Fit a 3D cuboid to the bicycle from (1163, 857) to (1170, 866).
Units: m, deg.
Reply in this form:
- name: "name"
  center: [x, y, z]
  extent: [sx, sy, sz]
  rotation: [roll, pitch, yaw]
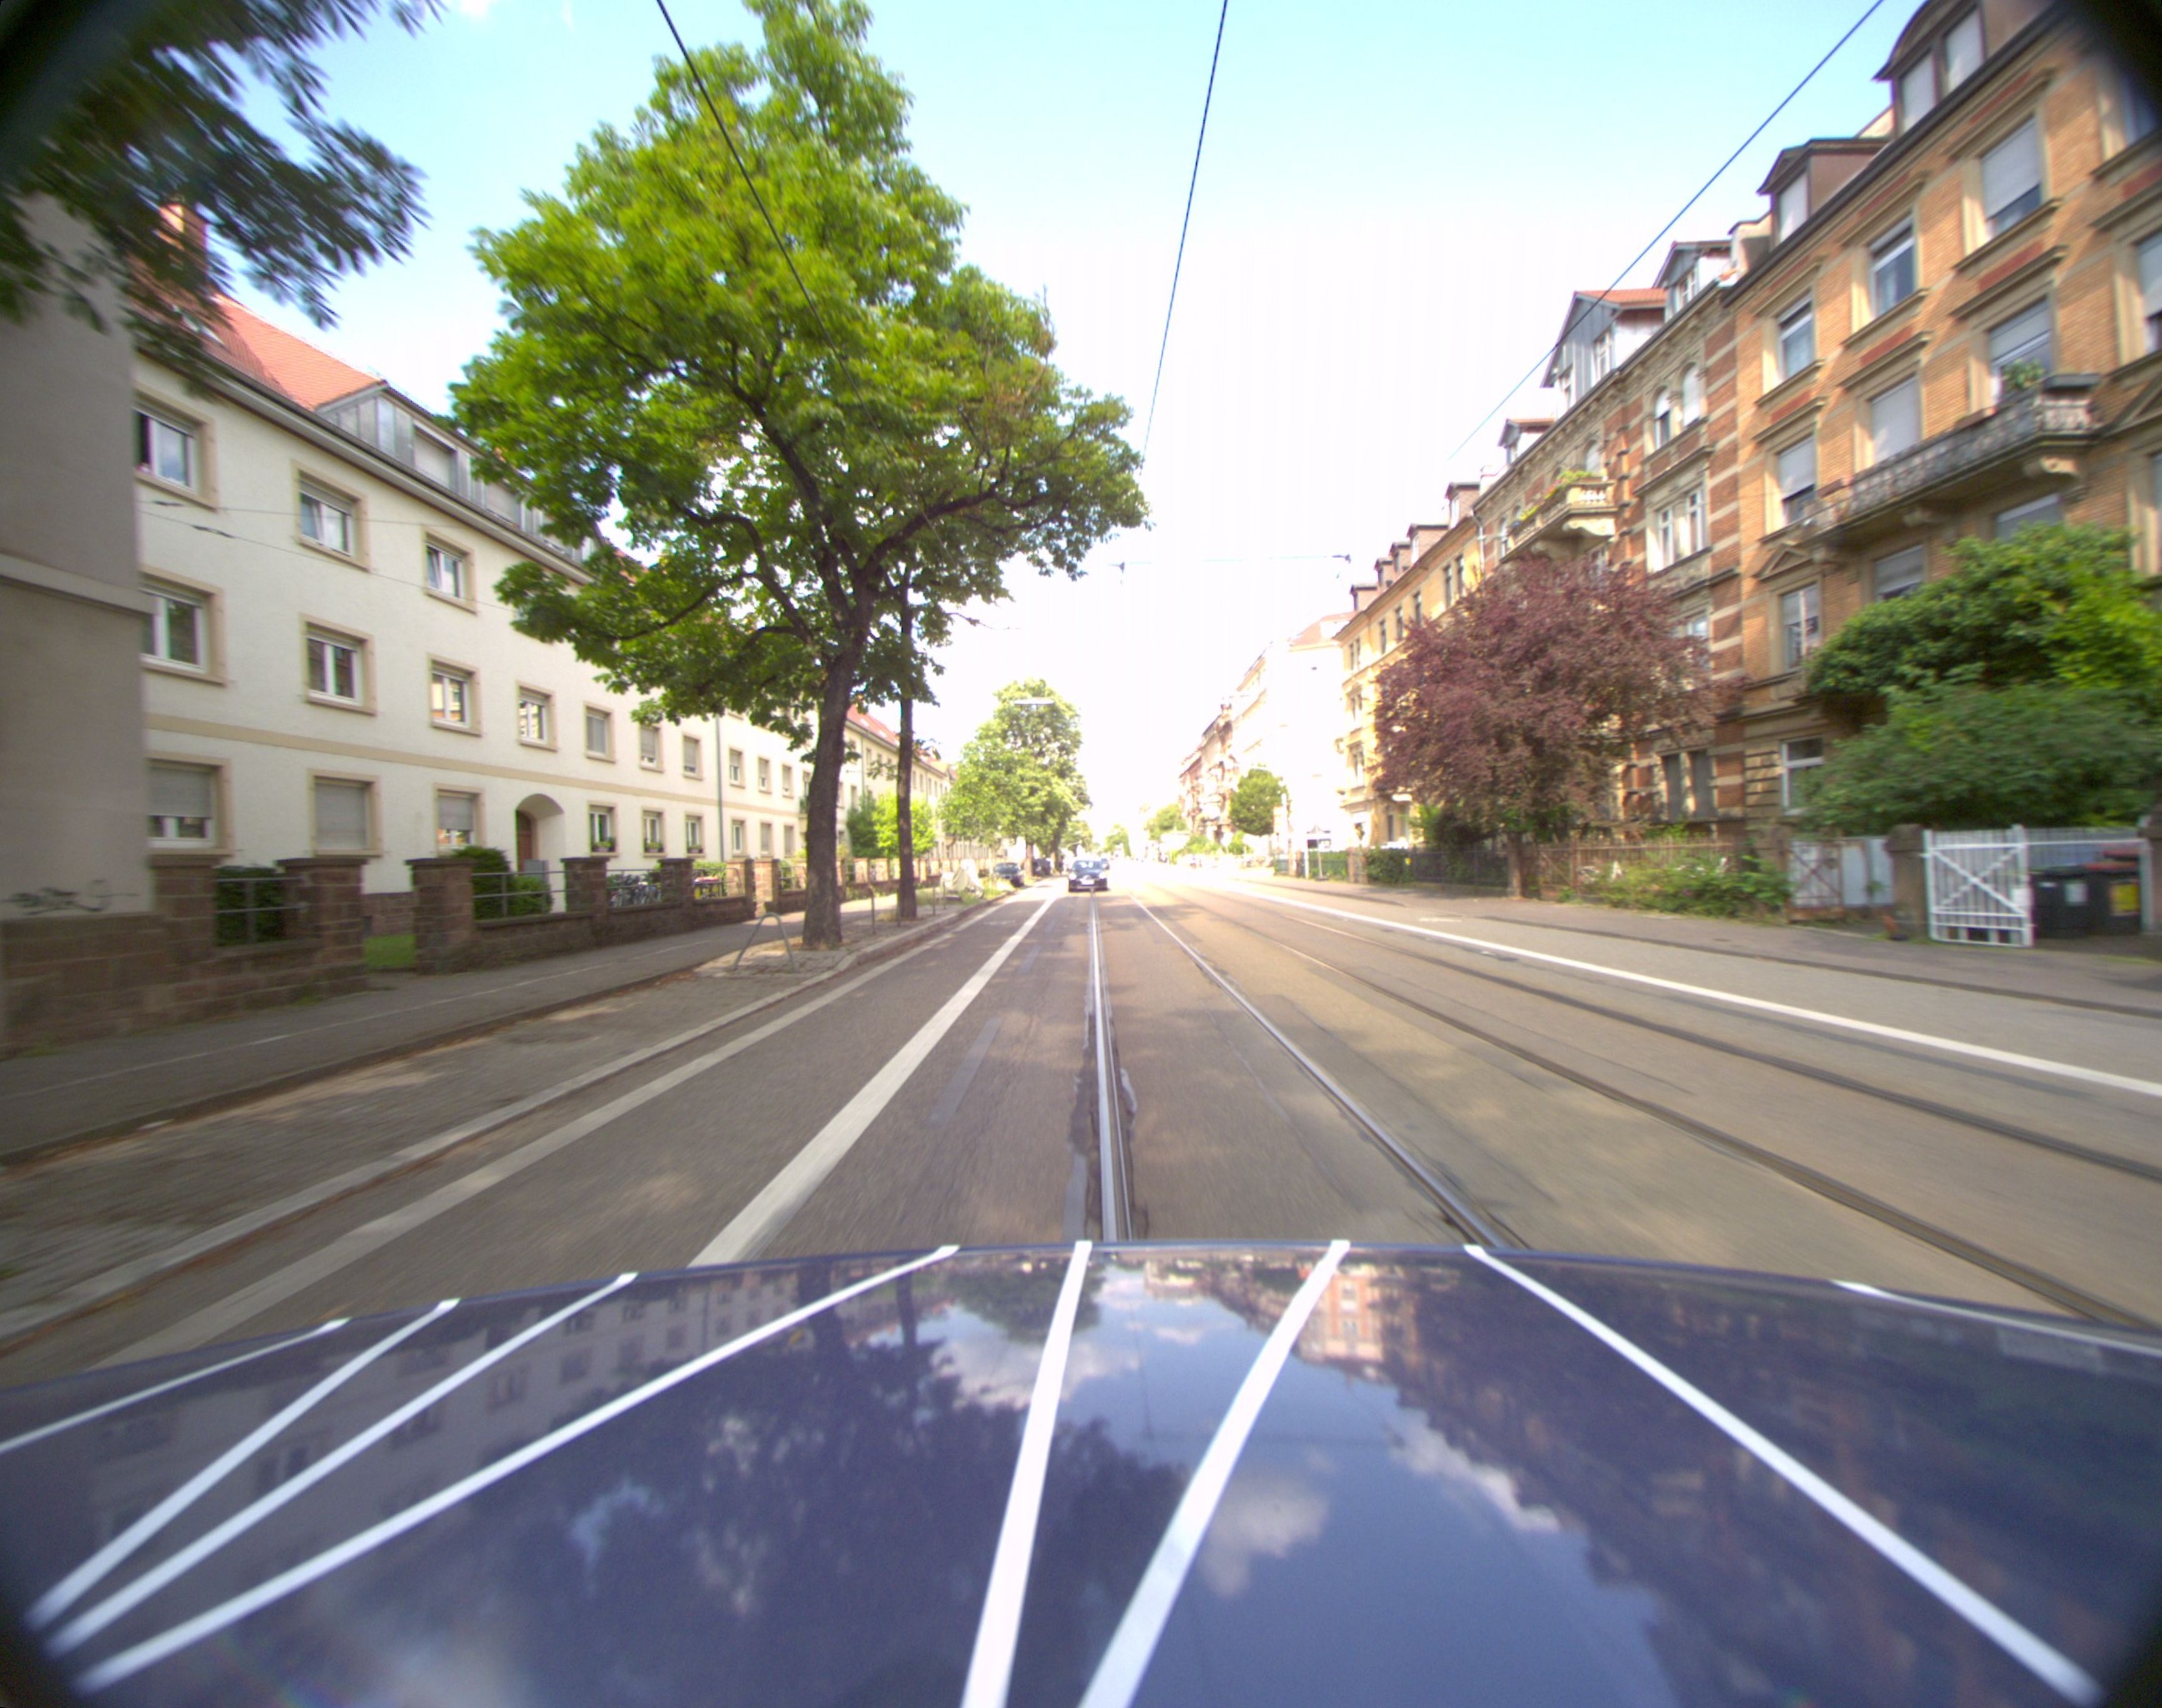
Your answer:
- name: "bicycle"
  center: [8.951, 0.800, 79.757]
  extent: [0.483, 0.936, 1.754]
  rotation: [0, 1, -2]

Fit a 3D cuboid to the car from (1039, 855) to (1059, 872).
- name: "car"
  center: [-3.108, 0.904, 73.678]
  extent: [1.693, 1.537, 3.617]
  rotation: [-2, 0, 0]

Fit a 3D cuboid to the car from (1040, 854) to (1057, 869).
- name: "car"
  center: [-3.624, 0.849, 85.206]
  extent: [1.693, 1.537, 3.775]
  rotation: [-2, 0, 0]

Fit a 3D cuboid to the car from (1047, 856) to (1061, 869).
- name: "car"
  center: [-3.364, 1.034, 95.290]
  extent: [1.693, 1.537, 3.460]
  rotation: [-2, 0, 0]

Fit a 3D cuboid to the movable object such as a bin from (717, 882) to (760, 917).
- name: "movable object such as a bin"
  center: [-9.602, 1.263, 21.323]
  extent: [0.830, 0.911, 0.752]
  rotation: [-2, 0, 0]

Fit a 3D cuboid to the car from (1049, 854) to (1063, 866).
- name: "car"
  center: [-3.335, 0.736, 101.887]
  extent: [1.693, 1.537, 3.460]
  rotation: [-2, 0, 0]

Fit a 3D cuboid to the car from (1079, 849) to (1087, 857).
- name: "car"
  center: [0.456, -0.274, 170.923]
  extent: [1.693, 1.831, 5.028]
  rotation: [-2, 0, -1]

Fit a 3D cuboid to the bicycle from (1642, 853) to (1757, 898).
- name: "bicycle"
  center: [14.107, 0.479, 17.362]
  extent: [2.133, 0.931, 0.586]
  rotation: [-2, 1, 0]

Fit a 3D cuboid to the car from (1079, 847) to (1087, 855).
- name: "car"
  center: [0.376, -0.600, 153.856]
  extent: [1.693, 1.380, 4.000]
  rotation: [-2, 0, 0]

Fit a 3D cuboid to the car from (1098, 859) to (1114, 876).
- name: "car"
  center: [2.840, 1.540, 87.141]
  extent: [1.715, 1.718, 3.736]
  rotation: [-3, 1, 1]

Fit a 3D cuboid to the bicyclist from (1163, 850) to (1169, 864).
- name: "bicyclist"
  center: [8.953, 0.296, 79.751]
  extent: [0.477, 1.490, 0.743]
  rotation: [0, 1, -2]

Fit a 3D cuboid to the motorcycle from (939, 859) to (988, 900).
- name: "motorcycle"
  center: [-4.509, 0.962, 29.102]
  extent: [0.812, 1.485, 2.065]
  rotation: [-2, 1, -43]

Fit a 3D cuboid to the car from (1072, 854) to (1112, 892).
- name: "car"
  center: [0.471, 0.827, 35.249]
  extent: [1.693, 1.568, 4.156]
  rotation: [-2, 0, 0]

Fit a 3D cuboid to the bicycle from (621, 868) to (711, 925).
- name: "bicycle"
  center: [-9.956, 0.975, 18.362]
  extent: [0.654, 1.184, 2.598]
  rotation: [-3, 1, 1]

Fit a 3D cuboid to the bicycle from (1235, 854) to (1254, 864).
- name: "bicycle"
  center: [15.815, 0.473, 73.442]
  extent: [1.753, 0.936, 0.483]
  rotation: [0, 1, 0]

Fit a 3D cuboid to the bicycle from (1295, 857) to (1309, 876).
- name: "bicycle"
  center: [11.586, 0.660, 39.897]
  extent: [0.400, 0.935, 1.473]
  rotation: [0, -2, 3]

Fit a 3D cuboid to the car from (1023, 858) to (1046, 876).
- name: "car"
  center: [-3.873, 1.105, 63.907]
  extent: [1.693, 1.380, 4.000]
  rotation: [-2, 0, 0]

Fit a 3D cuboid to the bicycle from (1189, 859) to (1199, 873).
- name: "bicycle"
  center: [8.068, 0.825, 54.188]
  extent: [0.607, 0.936, 1.756]
  rotation: [0, 1, 13]

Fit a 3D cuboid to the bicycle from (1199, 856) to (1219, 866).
- name: "bicycle"
  center: [12.314, 0.706, 73.039]
  extent: [1.750, 0.936, 0.484]
  rotation: [0, 1, 25]

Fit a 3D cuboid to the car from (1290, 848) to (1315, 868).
- name: "car"
  center: [18.310, 0.335, 62.842]
  extent: [1.778, 1.521, 3.870]
  rotation: [-2, 0, 19]

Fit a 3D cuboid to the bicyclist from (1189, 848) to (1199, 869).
- name: "bicyclist"
  center: [8.055, 0.327, 54.143]
  extent: [0.614, 1.490, 0.743]
  rotation: [0, 1, 13]

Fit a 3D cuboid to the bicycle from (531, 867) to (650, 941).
- name: "bicycle"
  center: [-10.012, 0.968, 15.656]
  extent: [0.654, 1.311, 2.598]
  rotation: [-3, 1, 1]

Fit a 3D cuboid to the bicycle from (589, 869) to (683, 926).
- name: "bicycle"
  center: [-10.723, 1.008, 18.461]
  extent: [0.654, 1.184, 2.598]
  rotation: [-3, 1, 1]

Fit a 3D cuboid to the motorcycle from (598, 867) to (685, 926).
- name: "motorcycle"
  center: [-11.989, 1.120, 20.865]
  extent: [0.752, 1.406, 2.598]
  rotation: [-3, 1, 1]

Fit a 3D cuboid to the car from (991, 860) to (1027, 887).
- name: "car"
  center: [-4.145, 1.112, 44.253]
  extent: [1.693, 1.380, 4.000]
  rotation: [-2, 0, 0]

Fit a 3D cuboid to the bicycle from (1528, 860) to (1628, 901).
- name: "bicycle"
  center: [12.554, 0.665, 19.214]
  extent: [2.133, 0.931, 0.586]
  rotation: [-2, 1, 0]
